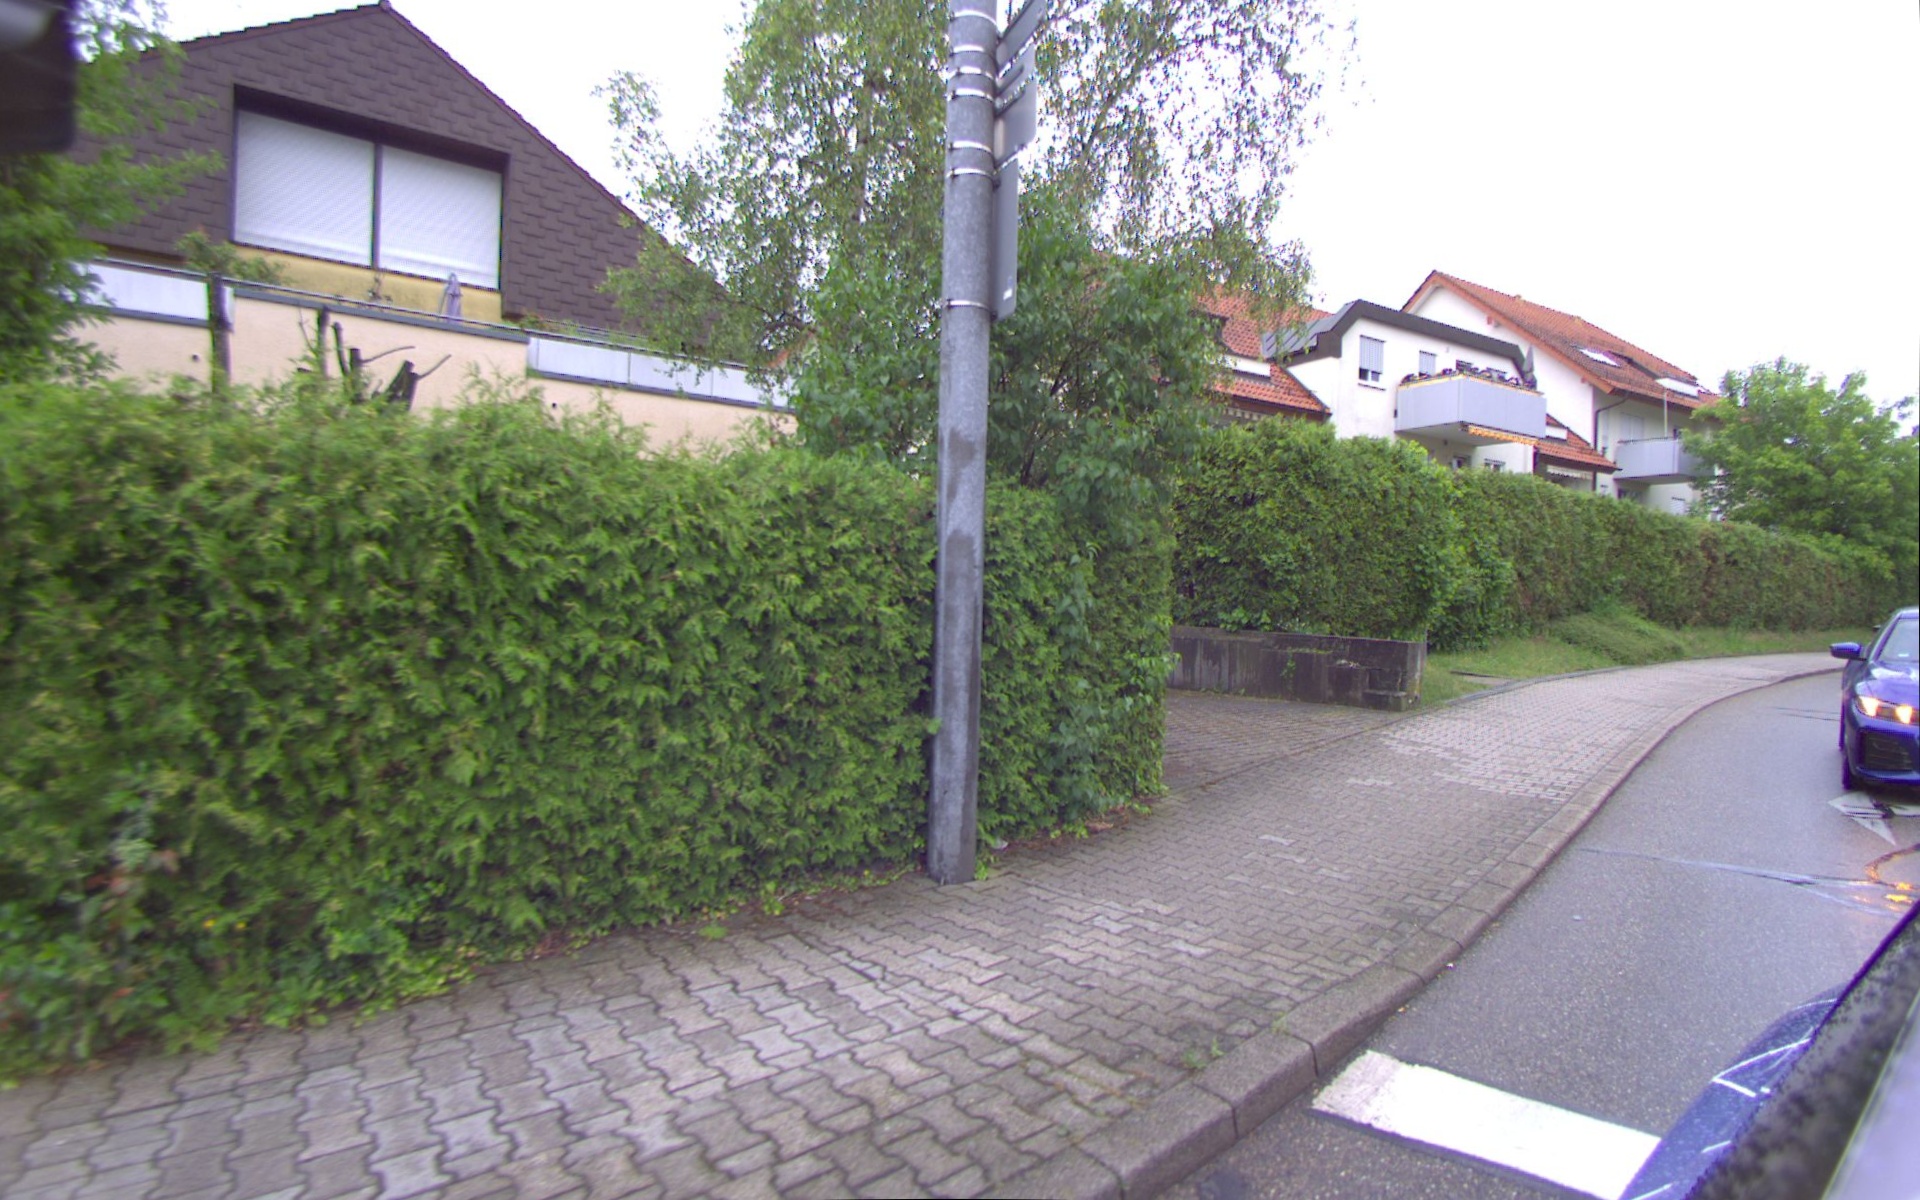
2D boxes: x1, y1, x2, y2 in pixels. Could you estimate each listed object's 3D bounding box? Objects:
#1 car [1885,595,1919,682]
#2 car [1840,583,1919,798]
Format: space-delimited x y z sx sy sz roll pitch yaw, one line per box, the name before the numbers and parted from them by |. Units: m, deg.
car | 18.730 0.770 18.870 3.929 1.539 1.744 4 -4 -41
car | 8.609 0.673 8.397 1.906 1.515 4.285 1 0 40
